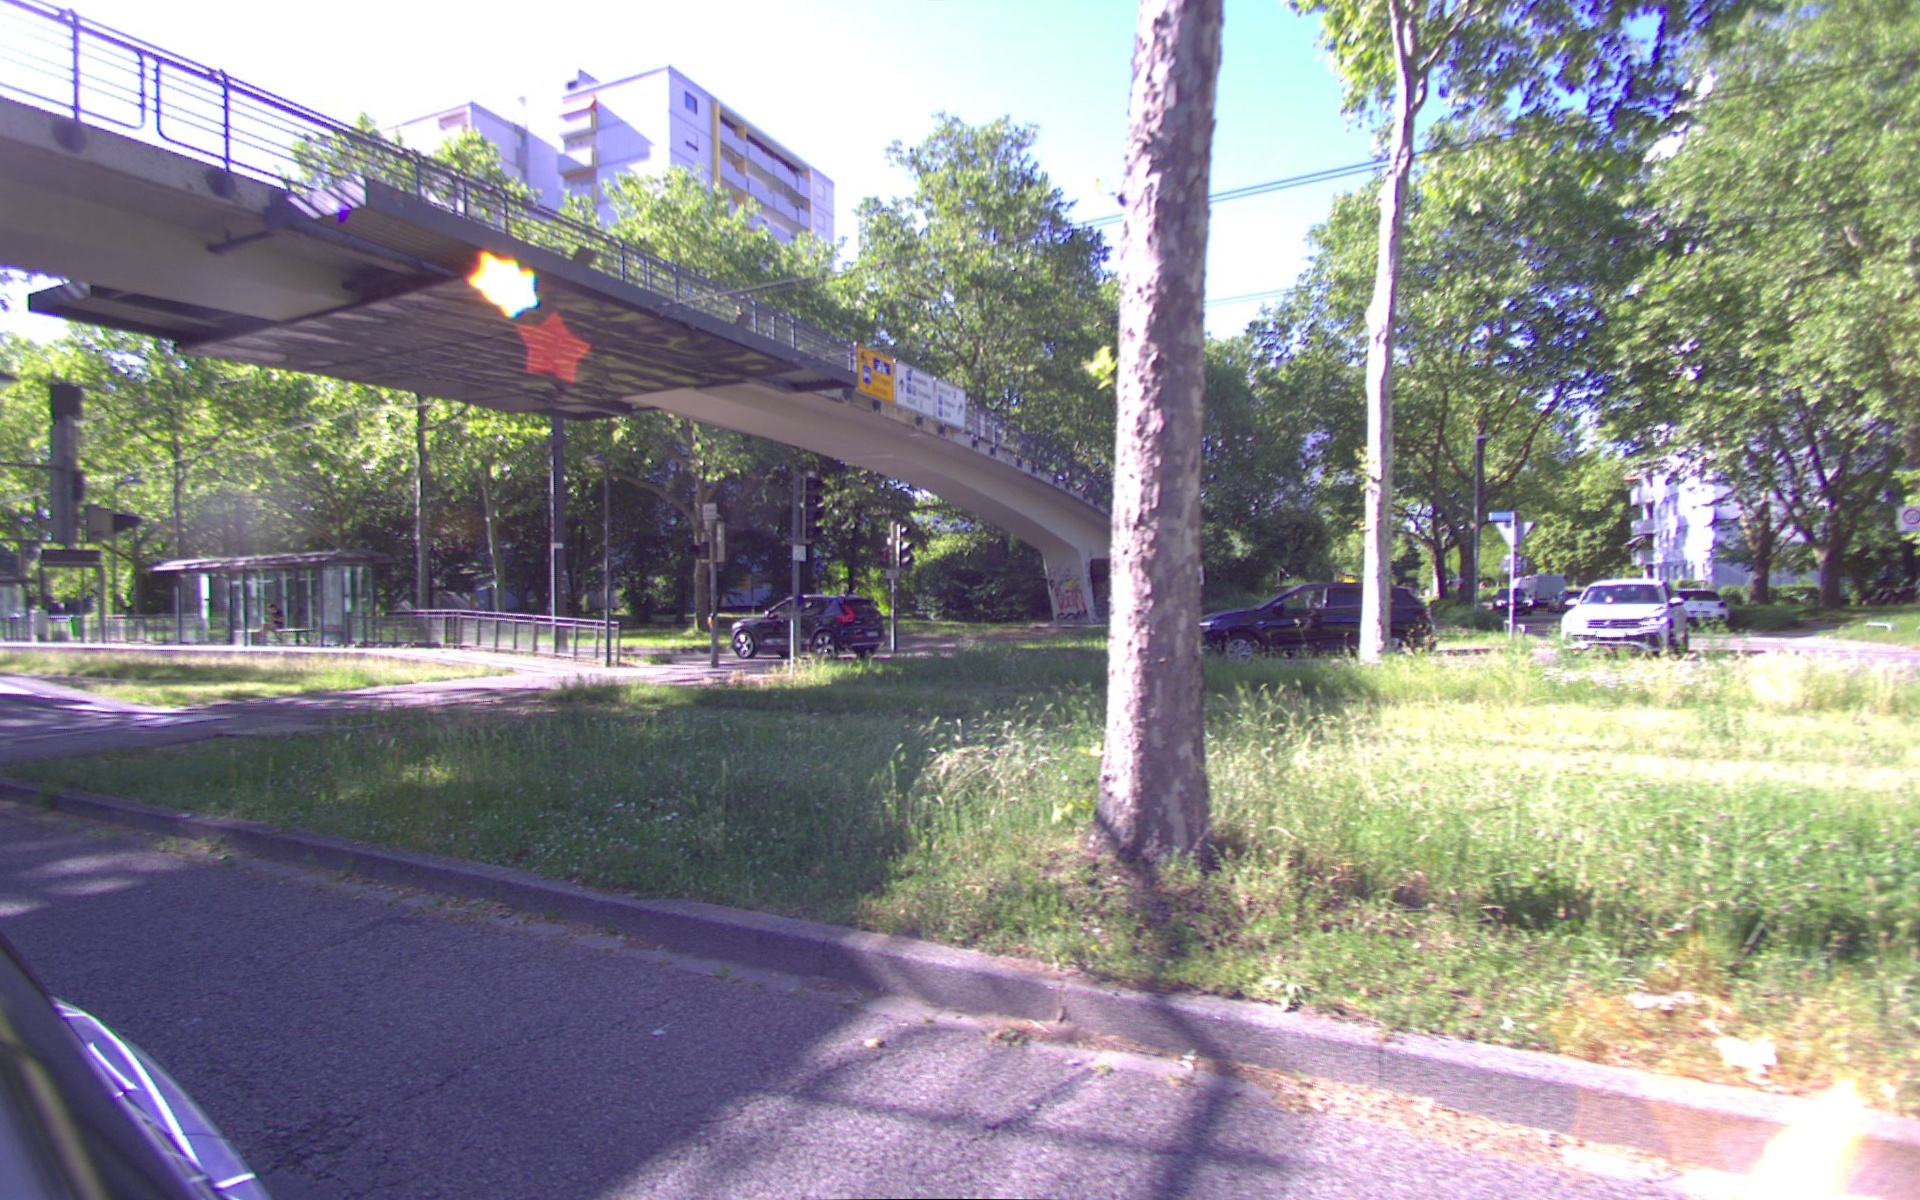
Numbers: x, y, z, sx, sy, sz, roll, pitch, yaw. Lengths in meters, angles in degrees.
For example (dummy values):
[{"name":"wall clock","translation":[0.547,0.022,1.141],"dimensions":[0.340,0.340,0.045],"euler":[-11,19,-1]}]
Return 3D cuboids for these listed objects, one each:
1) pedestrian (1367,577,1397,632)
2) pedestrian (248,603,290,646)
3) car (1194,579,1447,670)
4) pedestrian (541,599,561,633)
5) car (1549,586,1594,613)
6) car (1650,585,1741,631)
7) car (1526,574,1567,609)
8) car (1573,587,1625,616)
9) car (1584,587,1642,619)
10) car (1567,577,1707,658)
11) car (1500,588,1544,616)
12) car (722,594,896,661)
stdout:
[{"name":"pedestrian","translation":[13.993,0.149,33.545],"dimensions":[0.639,1.796,0.652],"euler":[-1,0,-34]},{"name":"pedestrian","translation":[-20.489,0.731,30.018],"dimensions":[0.719,1.247,0.773],"euler":[-1,0,29]},{"name":"car","translation":[6.664,0.452,19.161],"dimensions":[4.241,1.578,1.794],"euler":[-1,0,11]},{"name":"pedestrian","translation":[-20.587,0.811,50.929],"dimensions":[0.648,1.674,0.643],"euler":[-1,0,31]},{"name":"car","translation":[36.632,-0.048,60.695],"dimensions":[1.789,1.522,3.967],"euler":[-1,0,24]},{"name":"car","translation":[25.978,0.251,35.902],"dimensions":[1.789,1.522,3.967],"euler":[-1,0,24]},{"name":"car","translation":[43.019,-0.601,74.331],"dimensions":[2.050,2.455,4.968],"euler":[-1,0,24]},{"name":"car","translation":[34.557,0.069,54.802],"dimensions":[1.789,1.522,3.967],"euler":[-1,0,24]},{"name":"car","translation":[32.338,0.132,50.208],"dimensions":[1.789,1.522,3.967],"euler":[-1,0,24]},{"name":"car","translation":[14.158,0.317,21.063],"dimensions":[1.800,1.522,4.030],"euler":[-1,0,43]},{"name":"car","translation":[31.642,0.112,57.036],"dimensions":[1.789,1.522,3.967],"euler":[-1,0,24]},{"name":"car","translation":[-3.928,0.694,26.153],"dimensions":[4.269,1.578,1.782],"euler":[-1,0,29]}]
